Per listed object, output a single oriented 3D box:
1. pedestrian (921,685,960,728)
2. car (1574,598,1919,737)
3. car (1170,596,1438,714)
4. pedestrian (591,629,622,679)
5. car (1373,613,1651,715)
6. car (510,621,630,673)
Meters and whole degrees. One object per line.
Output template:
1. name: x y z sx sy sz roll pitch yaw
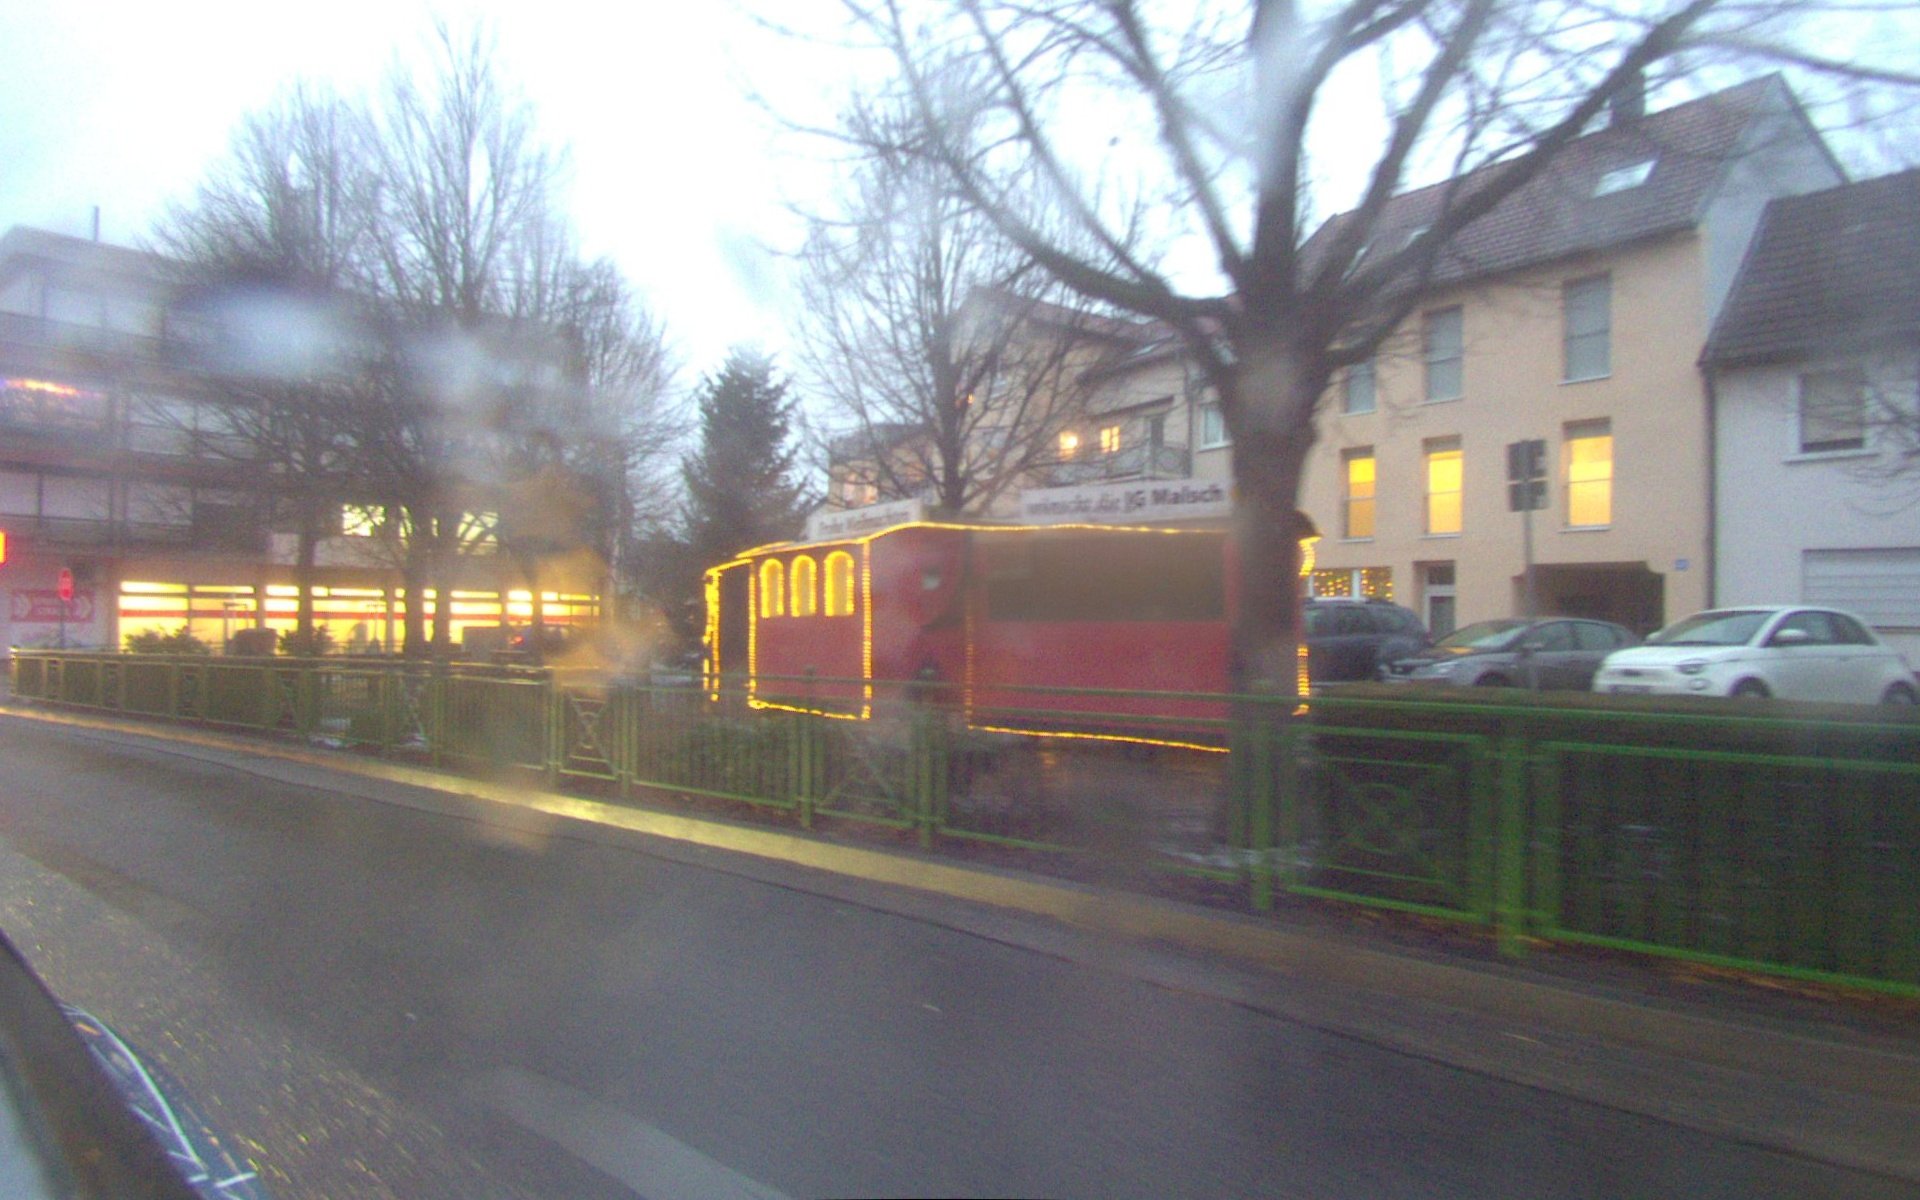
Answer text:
1. pedestrian: -0.230 1.263 12.043 0.361 0.488 0.291 -2 -4 41
2. car: 9.330 0.729 11.875 3.427 1.420 1.614 -1 -1 -13
3. car: 5.246 0.793 15.568 3.573 1.624 1.615 -1 -1 -15
4. pedestrian: -9.805 1.501 28.062 0.612 1.349 0.568 0 -2 -42
5. car: 7.494 0.822 13.842 3.004 1.229 1.615 -1 -1 -15
6. car: -12.427 1.454 32.324 3.259 1.519 1.504 0 -1 -42
